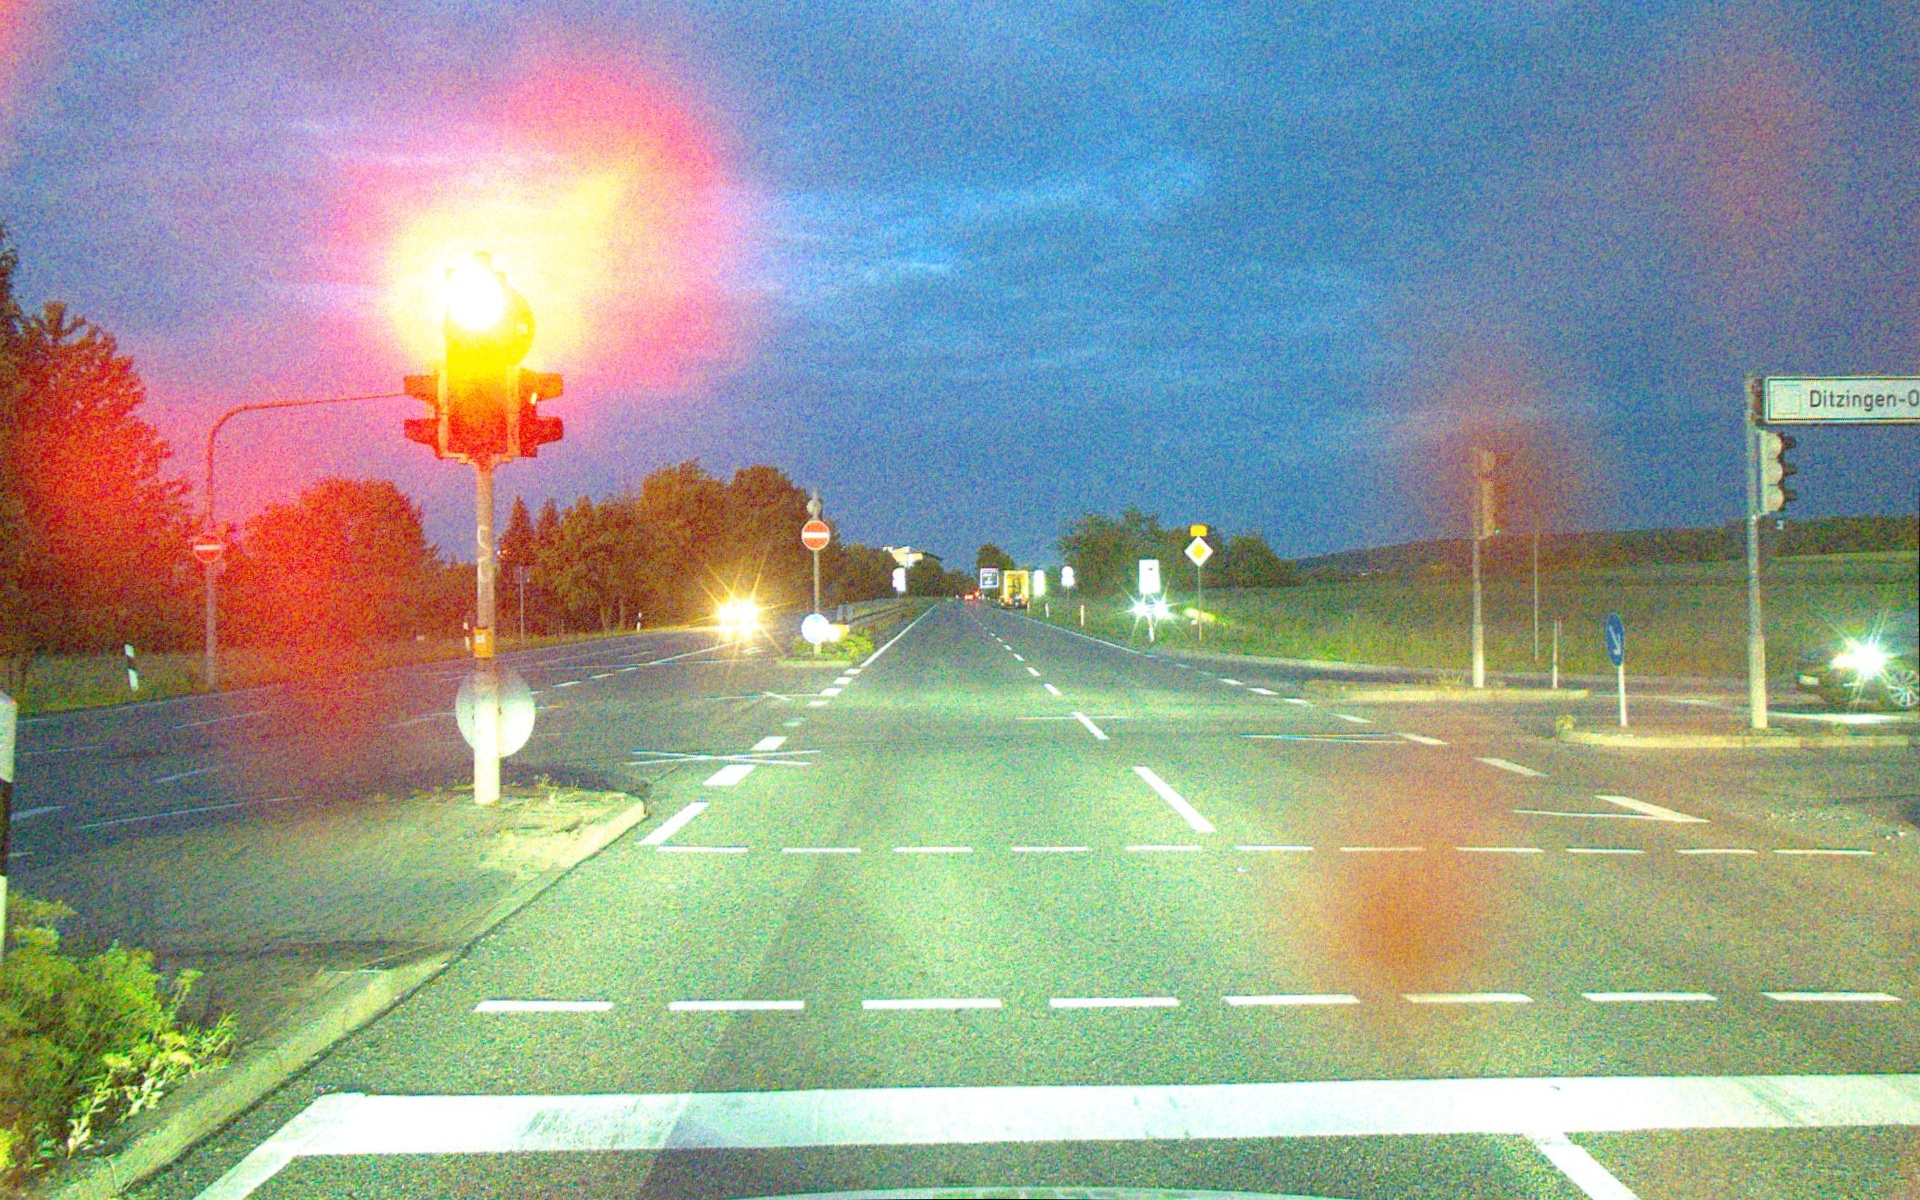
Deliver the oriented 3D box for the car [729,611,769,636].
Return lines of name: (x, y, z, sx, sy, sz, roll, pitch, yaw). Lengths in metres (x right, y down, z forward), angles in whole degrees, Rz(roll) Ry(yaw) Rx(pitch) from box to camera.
car: (-12.673, 1.378, 99.590, 1.953, 1.411, 3.999, -1, 0, -1)

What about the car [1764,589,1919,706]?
car: (14.236, 0.614, 23.626, 4.507, 1.547, 2.000, -1, 0, 0)
